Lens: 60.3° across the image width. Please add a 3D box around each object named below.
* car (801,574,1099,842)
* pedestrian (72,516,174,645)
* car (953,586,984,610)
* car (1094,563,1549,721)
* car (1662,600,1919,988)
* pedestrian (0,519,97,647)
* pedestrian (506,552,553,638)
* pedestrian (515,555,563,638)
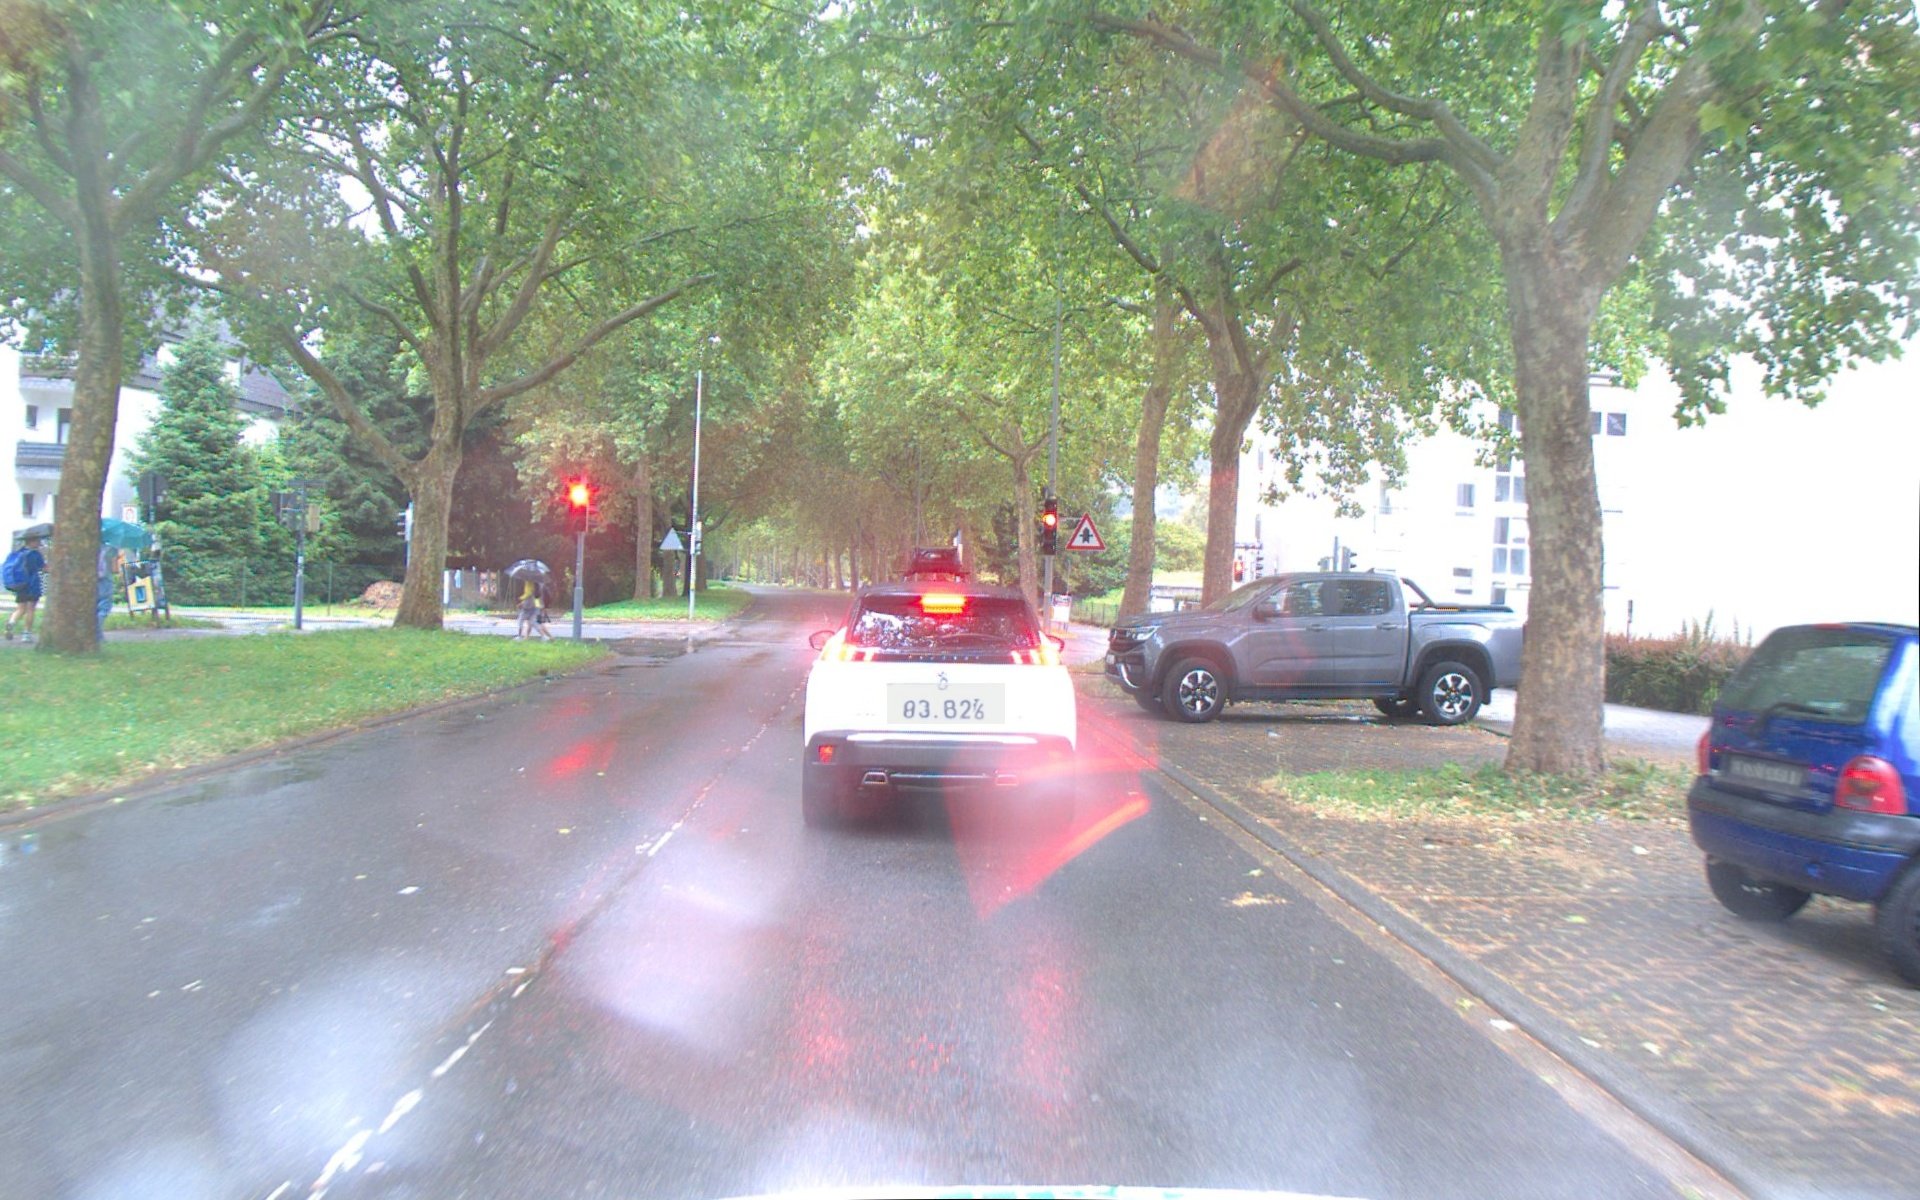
[{"bbox_3d":[-0.096,0.617,11.877,1.744,1.563,4.057,1,1,-1],"label":"car"},{"bbox_3d":[-12.032,-0.278,23.789,1.012,1.796,0.838,1,0,-1],"label":"pedestrian"},{"bbox_3d":[0.569,-0.151,116.419,1.868,1.536,3.928,2,1,-5],"label":"car"},{"bbox_3d":[4.446,0.509,20.680,5.238,1.838,1.842,1,1,-8],"label":"car"},{"bbox_3d":[5.113,0.800,7.330,3.288,1.489,1.618,2,1,-2],"label":"car"},{"bbox_3d":[-13.189,-0.247,23.848,1.012,1.796,0.879,1,0,-1],"label":"pedestrian"},{"bbox_3d":[-9.167,-0.109,35.277,0.804,1.775,0.639,2,0,-4],"label":"pedestrian"},{"bbox_3d":[-9.197,-0.071,36.161,0.842,1.775,0.639,2,0,-4],"label":"pedestrian"}]
